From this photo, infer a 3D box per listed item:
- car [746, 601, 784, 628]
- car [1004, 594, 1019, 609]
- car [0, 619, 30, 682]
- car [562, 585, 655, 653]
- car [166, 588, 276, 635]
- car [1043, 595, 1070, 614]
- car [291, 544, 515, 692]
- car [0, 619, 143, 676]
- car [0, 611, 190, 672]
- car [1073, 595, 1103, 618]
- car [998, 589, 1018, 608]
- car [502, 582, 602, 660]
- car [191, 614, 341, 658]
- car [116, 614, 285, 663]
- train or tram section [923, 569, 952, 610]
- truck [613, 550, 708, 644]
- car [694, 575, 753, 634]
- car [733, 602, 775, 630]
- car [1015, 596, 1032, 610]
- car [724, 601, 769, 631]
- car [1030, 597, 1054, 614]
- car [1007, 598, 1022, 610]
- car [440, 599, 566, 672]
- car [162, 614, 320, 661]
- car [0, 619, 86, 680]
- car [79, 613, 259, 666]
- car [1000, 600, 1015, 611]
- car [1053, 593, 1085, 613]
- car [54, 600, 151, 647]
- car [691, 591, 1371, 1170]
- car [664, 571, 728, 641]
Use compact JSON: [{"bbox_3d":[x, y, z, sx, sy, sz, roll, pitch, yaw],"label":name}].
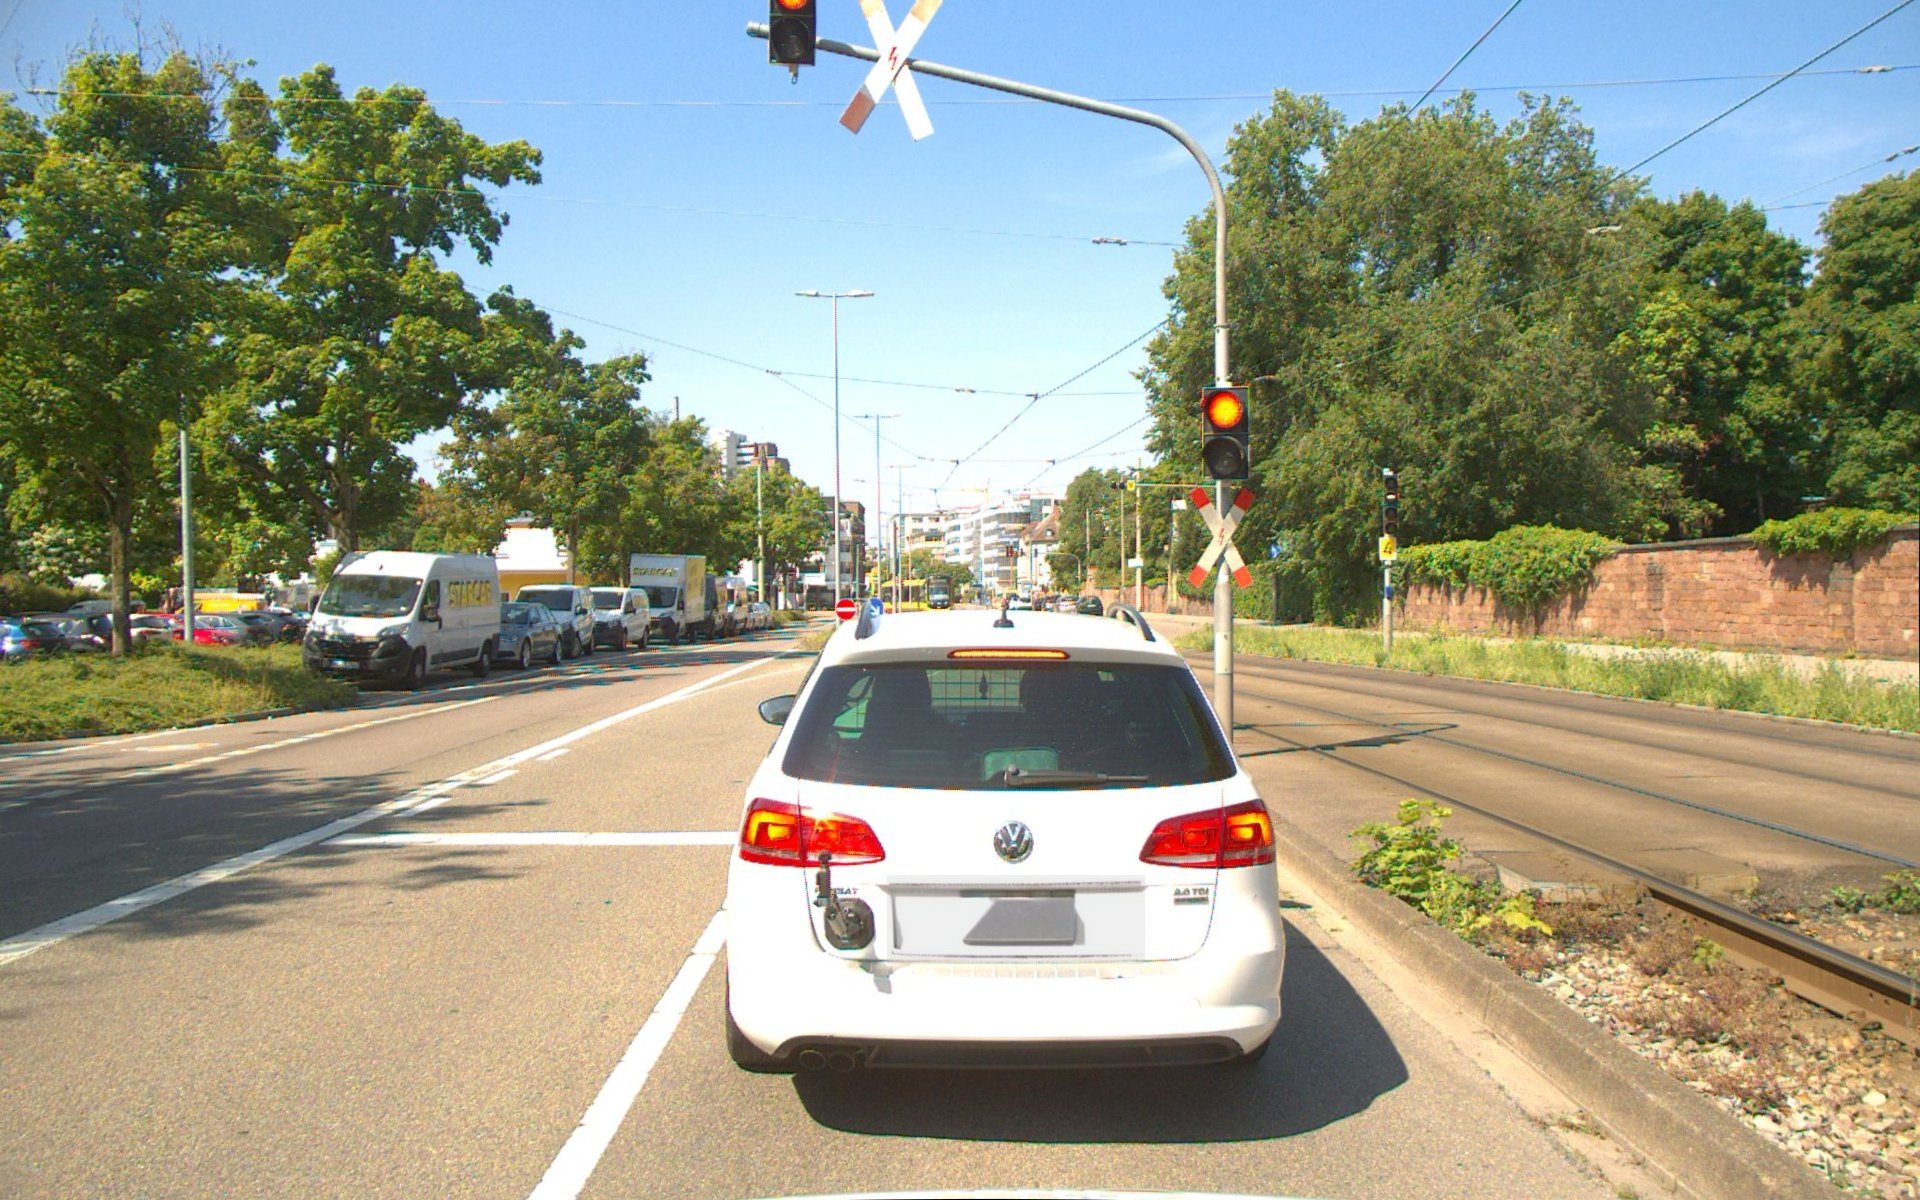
[{"bbox_3d":[-11.325,0.839,96.410,1.744,1.458,4.037,-1,0,-1],"label":"car"},{"bbox_3d":[6.387,0.233,204.727,1.657,1.844,3.453,1,-1,-1],"label":"car"},{"bbox_3d":[-20.953,1.051,32.841,3.907,1.246,1.770,-1,0,-3],"label":"car"},{"bbox_3d":[-10.910,0.549,51.730,1.806,1.995,5.133,-1,0,0],"label":"car"},{"bbox_3d":[-34.128,0.550,76.493,4.175,2.049,1.997,1,-1,-7],"label":"car"},{"bbox_3d":[7.843,0.344,134.762,1.824,1.539,3.911,1,0,-2],"label":"car"},{"bbox_3d":[-10.682,0.293,32.369,2.016,2.544,6.309,2,0,2],"label":"car"},{"bbox_3d":[-21.606,1.117,38.875,3.904,1.246,1.772,-1,0,2],"label":"car"},{"bbox_3d":[-21.738,1.030,41.554,3.904,1.373,1.772,-1,0,2],"label":"car"},{"bbox_3d":[8.246,0.431,106.688,1.710,1.412,3.914,1,0,1],"label":"car"},{"bbox_3d":[6.558,-0.178,225.643,2.413,2.542,5.908,1,-1,-1],"label":"car"},{"bbox_3d":[-11.051,0.524,45.124,1.807,1.971,5.189,-1,0,-5],"label":"car"},{"bbox_3d":[-21.561,1.119,51.488,3.904,1.246,1.772,-1,0,2],"label":"car"},{"bbox_3d":[-21.340,1.078,46.572,3.904,1.246,1.772,-1,0,2],"label":"car"},{"bbox_3d":[-1.853,-0.810,139.584,2.254,3.309,11.272,1,-1,0],"label":"train or tram section"},{"bbox_3d":[-10.797,-0.119,60.211,2.309,3.177,6.889,-1,0,-2],"label":"truck"},{"bbox_3d":[-10.777,0.172,75.693,1.806,2.538,5.856,-1,0,0],"label":"car"},{"bbox_3d":[-11.341,0.876,91.184,1.806,1.458,4.037,-1,0,-1],"label":"car"},{"bbox_3d":[6.610,0.334,173.164,1.549,1.370,3.453,1,-1,-1],"label":"car"},{"bbox_3d":[-10.986,0.821,85.273,1.806,1.458,4.037,-1,0,-1],"label":"car"},{"bbox_3d":[7.462,0.512,151.041,1.711,1.432,3.911,1,0,-3],"label":"car"},{"bbox_3d":[6.312,0.492,192.215,1.549,1.370,3.453,1,-1,-1],"label":"car"},{"bbox_3d":[-10.546,0.781,38.458,1.806,1.543,4.196,-1,0,-1],"label":"car"},{"bbox_3d":[-21.329,1.107,49.168,3.904,1.246,1.772,-1,0,2],"label":"car"},{"bbox_3d":[-21.276,1.085,35.654,3.904,1.246,1.772,-1,0,2],"label":"car"},{"bbox_3d":[-20.987,1.041,43.983,3.904,1.286,1.772,-1,0,2],"label":"car"},{"bbox_3d":[6.915,0.817,241.698,1.953,1.624,3.999,1,-1,0],"label":"car"},{"bbox_3d":[7.849,0.201,119.230,1.824,1.441,4.323,1,0,-2],"label":"car"},{"bbox_3d":[-36.967,0.997,71.354,3.354,1.909,1.552,-1,0,-3],"label":"car"},{"bbox_3d":[0.135,0.719,6.221,1.732,1.471,3.912,1,0,-2],"label":"car"},{"bbox_3d":[-10.803,0.216,67.988,1.806,2.715,5.003,-1,0,0],"label":"car"}]
